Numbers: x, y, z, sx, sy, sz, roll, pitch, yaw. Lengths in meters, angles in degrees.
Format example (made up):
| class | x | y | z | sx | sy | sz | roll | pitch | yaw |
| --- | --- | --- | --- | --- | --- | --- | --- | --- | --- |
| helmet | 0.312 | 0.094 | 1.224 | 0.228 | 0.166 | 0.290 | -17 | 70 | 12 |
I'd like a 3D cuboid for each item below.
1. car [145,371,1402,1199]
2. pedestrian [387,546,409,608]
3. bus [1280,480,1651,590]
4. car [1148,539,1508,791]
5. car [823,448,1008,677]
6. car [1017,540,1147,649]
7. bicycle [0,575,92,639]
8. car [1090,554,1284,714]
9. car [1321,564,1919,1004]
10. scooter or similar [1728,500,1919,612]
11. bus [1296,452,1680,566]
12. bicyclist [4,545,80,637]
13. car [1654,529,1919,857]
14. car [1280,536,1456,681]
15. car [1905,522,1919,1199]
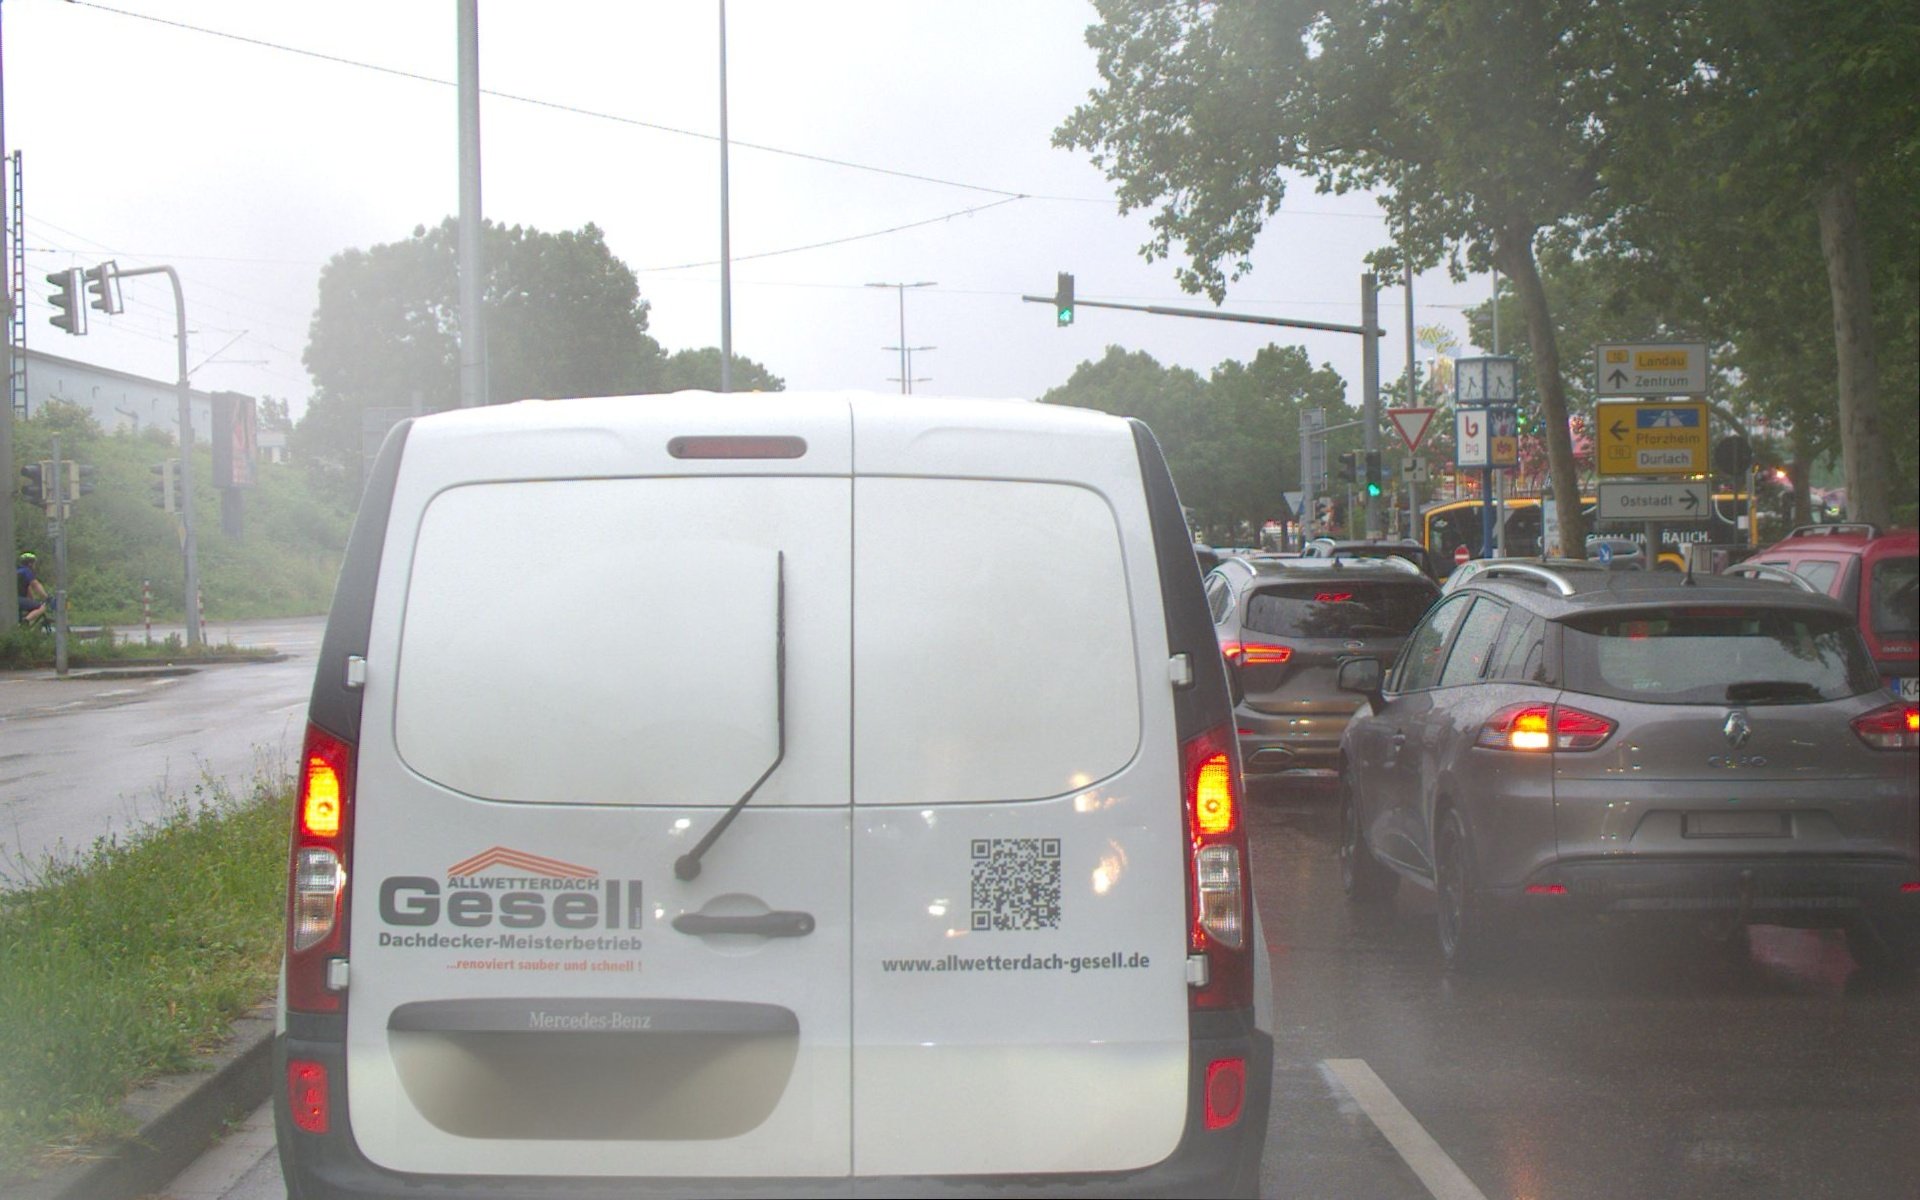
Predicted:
| class | x | y | z | sx | sy | sz | roll | pitch | yaw |
| --- | --- | --- | --- | --- | --- | --- | --- | --- | --- |
| car | -0.319 | 0.475 | 7.768 | 1.993 | 1.770 | 4.585 | 0 | 1 | -1 |
| pedestrian | -15.709 | -0.649 | 96.113 | 0.543 | 1.710 | 0.563 | 1 | 0 | -4 |
| bus | 16.851 | -2.190 | 114.856 | 11.969 | 3.411 | 2.483 | -1 | 1 | -4 |
| car | 2.260 | 0.348 | 22.055 | 1.854 | 1.455 | 3.843 | 0 | 1 | -1 |
| car | -0.468 | -0.415 | 36.446 | 1.854 | 2.288 | 3.843 | 0 | 1 | -1 |
| car | 1.879 | -0.100 | 53.823 | 1.854 | 1.644 | 3.843 | 0 | 1 | -1 |
| bicycle | -14.839 | 0.098 | 55.574 | 1.040 | 0.949 | 2.889 | -2 | 2 | -25 |
| car | 2.459 | 0.332 | 38.078 | 1.854 | 1.644 | 3.843 | 0 | 1 | -1 |
| car | 2.493 | 0.593 | 13.312 | 1.683 | 1.403 | 3.843 | 1 | 1 | -1 |
| scooter or similar | 19.983 | -0.994 | 77.071 | 1.890 | 2.437 | 5.316 | -1 | 1 | -41 |
| bus | 16.956 | -2.928 | 110.885 | 11.970 | 3.411 | 2.315 | -1 | 1 | 0 |
| bicyclist | -14.822 | -0.157 | 55.517 | 1.040 | 1.445 | 0.729 | -2 | 2 | -25 |
| car | 5.335 | 0.478 | 19.872 | 1.710 | 1.688 | 4.272 | 1 | 0 | -1 |
| car | 5.053 | 0.067 | 42.992 | 1.708 | 1.722 | 3.843 | 0 | 1 | -1 |
| car | 2.976 | 0.644 | 5.419 | 1.747 | 1.549 | 4.091 | 0 | 1 | -1 |
